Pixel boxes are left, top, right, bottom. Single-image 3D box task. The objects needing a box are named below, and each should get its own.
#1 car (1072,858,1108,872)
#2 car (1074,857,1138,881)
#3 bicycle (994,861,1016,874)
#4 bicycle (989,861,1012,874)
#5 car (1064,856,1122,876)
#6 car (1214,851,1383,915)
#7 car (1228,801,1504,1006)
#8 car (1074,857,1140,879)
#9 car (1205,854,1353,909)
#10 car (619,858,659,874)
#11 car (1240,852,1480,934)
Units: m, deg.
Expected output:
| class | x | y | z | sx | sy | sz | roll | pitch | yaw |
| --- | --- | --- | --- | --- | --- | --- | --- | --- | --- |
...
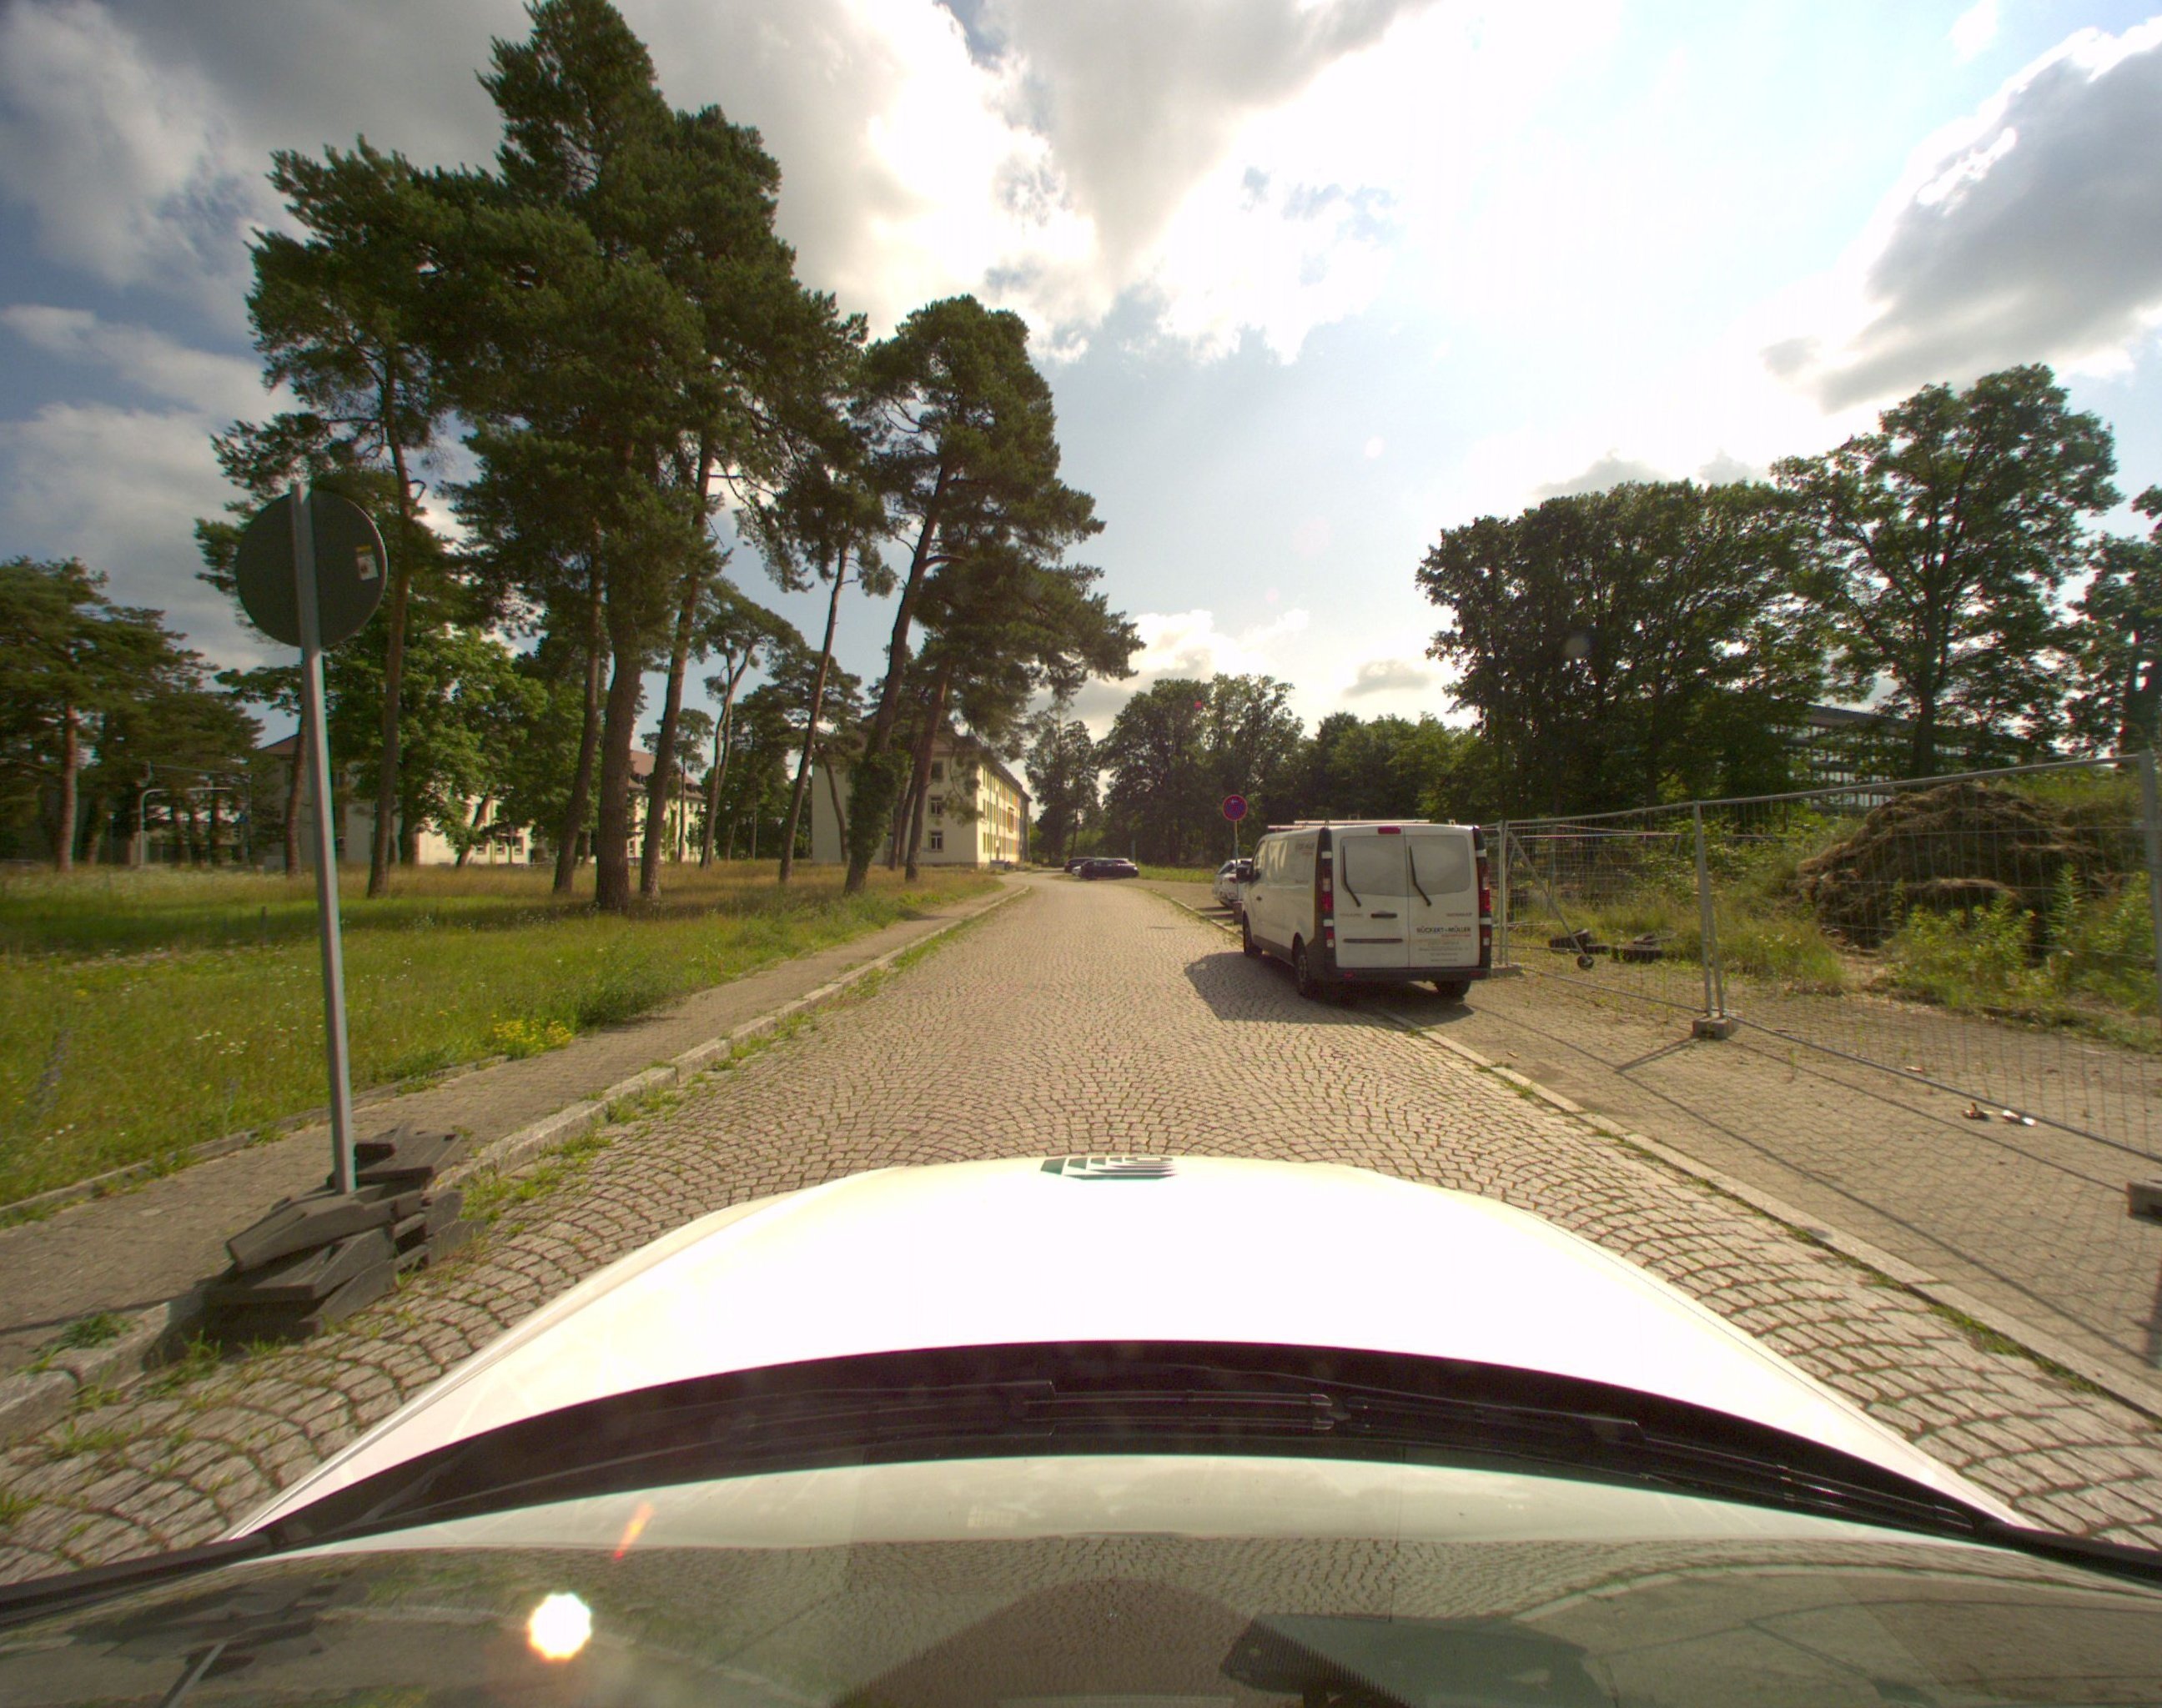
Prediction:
| class | x | y | z | sx | sy | sz | roll | pitch | yaw |
| --- | --- | --- | --- | --- | --- | --- | --- | --- | --- |
| car | 1.107 | 1.293 | 96.995 | 4.171 | 1.543 | 1.821 | -2 | -1 | 2 |
| car | 1.758 | 1.047 | 58.342 | 4.322 | 1.500 | 1.825 | -2 | 0 | -8 |
| bicycle | -7.974 | 1.418 | 85.886 | 2.213 | 1.260 | 0.623 | -1 | -1 | 2 |
| bicycle | -8.190 | 1.405 | 83.190 | 2.210 | 1.260 | 0.624 | -1 | -1 | 6 |
| car | 0.971 | 1.005 | 68.871 | 4.839 | 1.552 | 1.878 | -2 | -1 | -2 |
| car | 5.715 | 0.742 | 21.697 | 3.977 | 1.507 | 1.745 | -2 | -1 | -3 |
| car | 3.403 | 0.530 | 11.112 | 1.907 | 2.053 | 5.680 | -1 | -1 | 2 |
| car | 1.902 | 1.058 | 61.527 | 4.848 | 1.472 | 1.873 | -2 | 0 | -2 |
| car | 5.952 | 0.803 | 24.760 | 4.032 | 1.464 | 1.702 | -2 | -1 | -3 |
| car | -55.413 | 1.500 | 102.033 | 4.045 | 1.991 | 1.713 | -1 | -1 | 1 |
| car | 5.779 | 0.788 | 17.166 | 4.445 | 1.475 | 1.743 | -2 | -1 | -4 |
